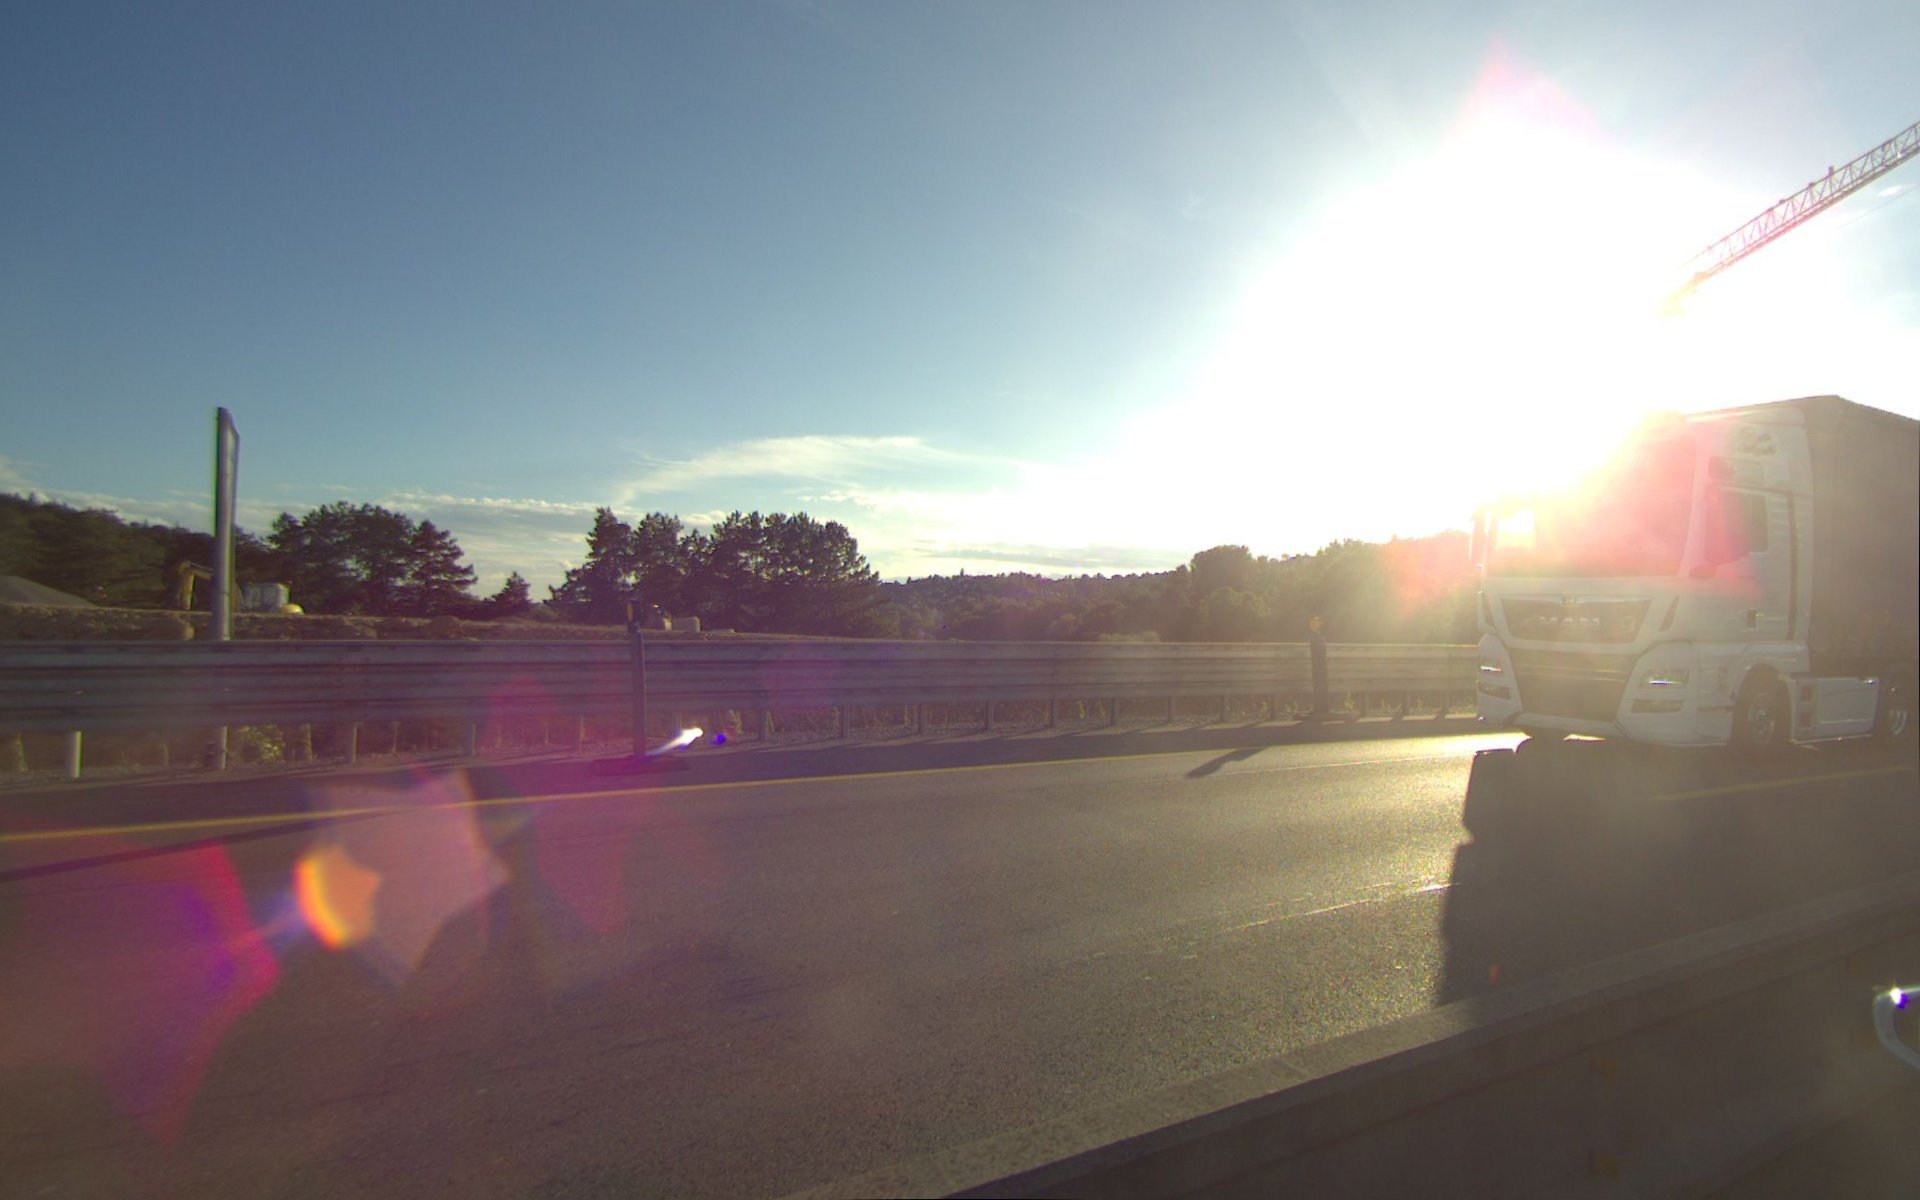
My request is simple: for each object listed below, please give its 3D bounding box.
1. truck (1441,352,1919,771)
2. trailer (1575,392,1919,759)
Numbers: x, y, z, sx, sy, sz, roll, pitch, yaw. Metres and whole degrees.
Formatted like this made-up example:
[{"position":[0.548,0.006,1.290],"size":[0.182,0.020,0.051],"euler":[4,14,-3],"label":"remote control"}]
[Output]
[{"position":[9.024,-0.282,12.440],"size":[5.604,4.102,2.802],"euler":[2,-1,-29],"label":"truck"},{"position":[15.092,-0.051,15.890],"size":[13.853,4.104,2.801],"euler":[2,-1,-30],"label":"trailer"}]
